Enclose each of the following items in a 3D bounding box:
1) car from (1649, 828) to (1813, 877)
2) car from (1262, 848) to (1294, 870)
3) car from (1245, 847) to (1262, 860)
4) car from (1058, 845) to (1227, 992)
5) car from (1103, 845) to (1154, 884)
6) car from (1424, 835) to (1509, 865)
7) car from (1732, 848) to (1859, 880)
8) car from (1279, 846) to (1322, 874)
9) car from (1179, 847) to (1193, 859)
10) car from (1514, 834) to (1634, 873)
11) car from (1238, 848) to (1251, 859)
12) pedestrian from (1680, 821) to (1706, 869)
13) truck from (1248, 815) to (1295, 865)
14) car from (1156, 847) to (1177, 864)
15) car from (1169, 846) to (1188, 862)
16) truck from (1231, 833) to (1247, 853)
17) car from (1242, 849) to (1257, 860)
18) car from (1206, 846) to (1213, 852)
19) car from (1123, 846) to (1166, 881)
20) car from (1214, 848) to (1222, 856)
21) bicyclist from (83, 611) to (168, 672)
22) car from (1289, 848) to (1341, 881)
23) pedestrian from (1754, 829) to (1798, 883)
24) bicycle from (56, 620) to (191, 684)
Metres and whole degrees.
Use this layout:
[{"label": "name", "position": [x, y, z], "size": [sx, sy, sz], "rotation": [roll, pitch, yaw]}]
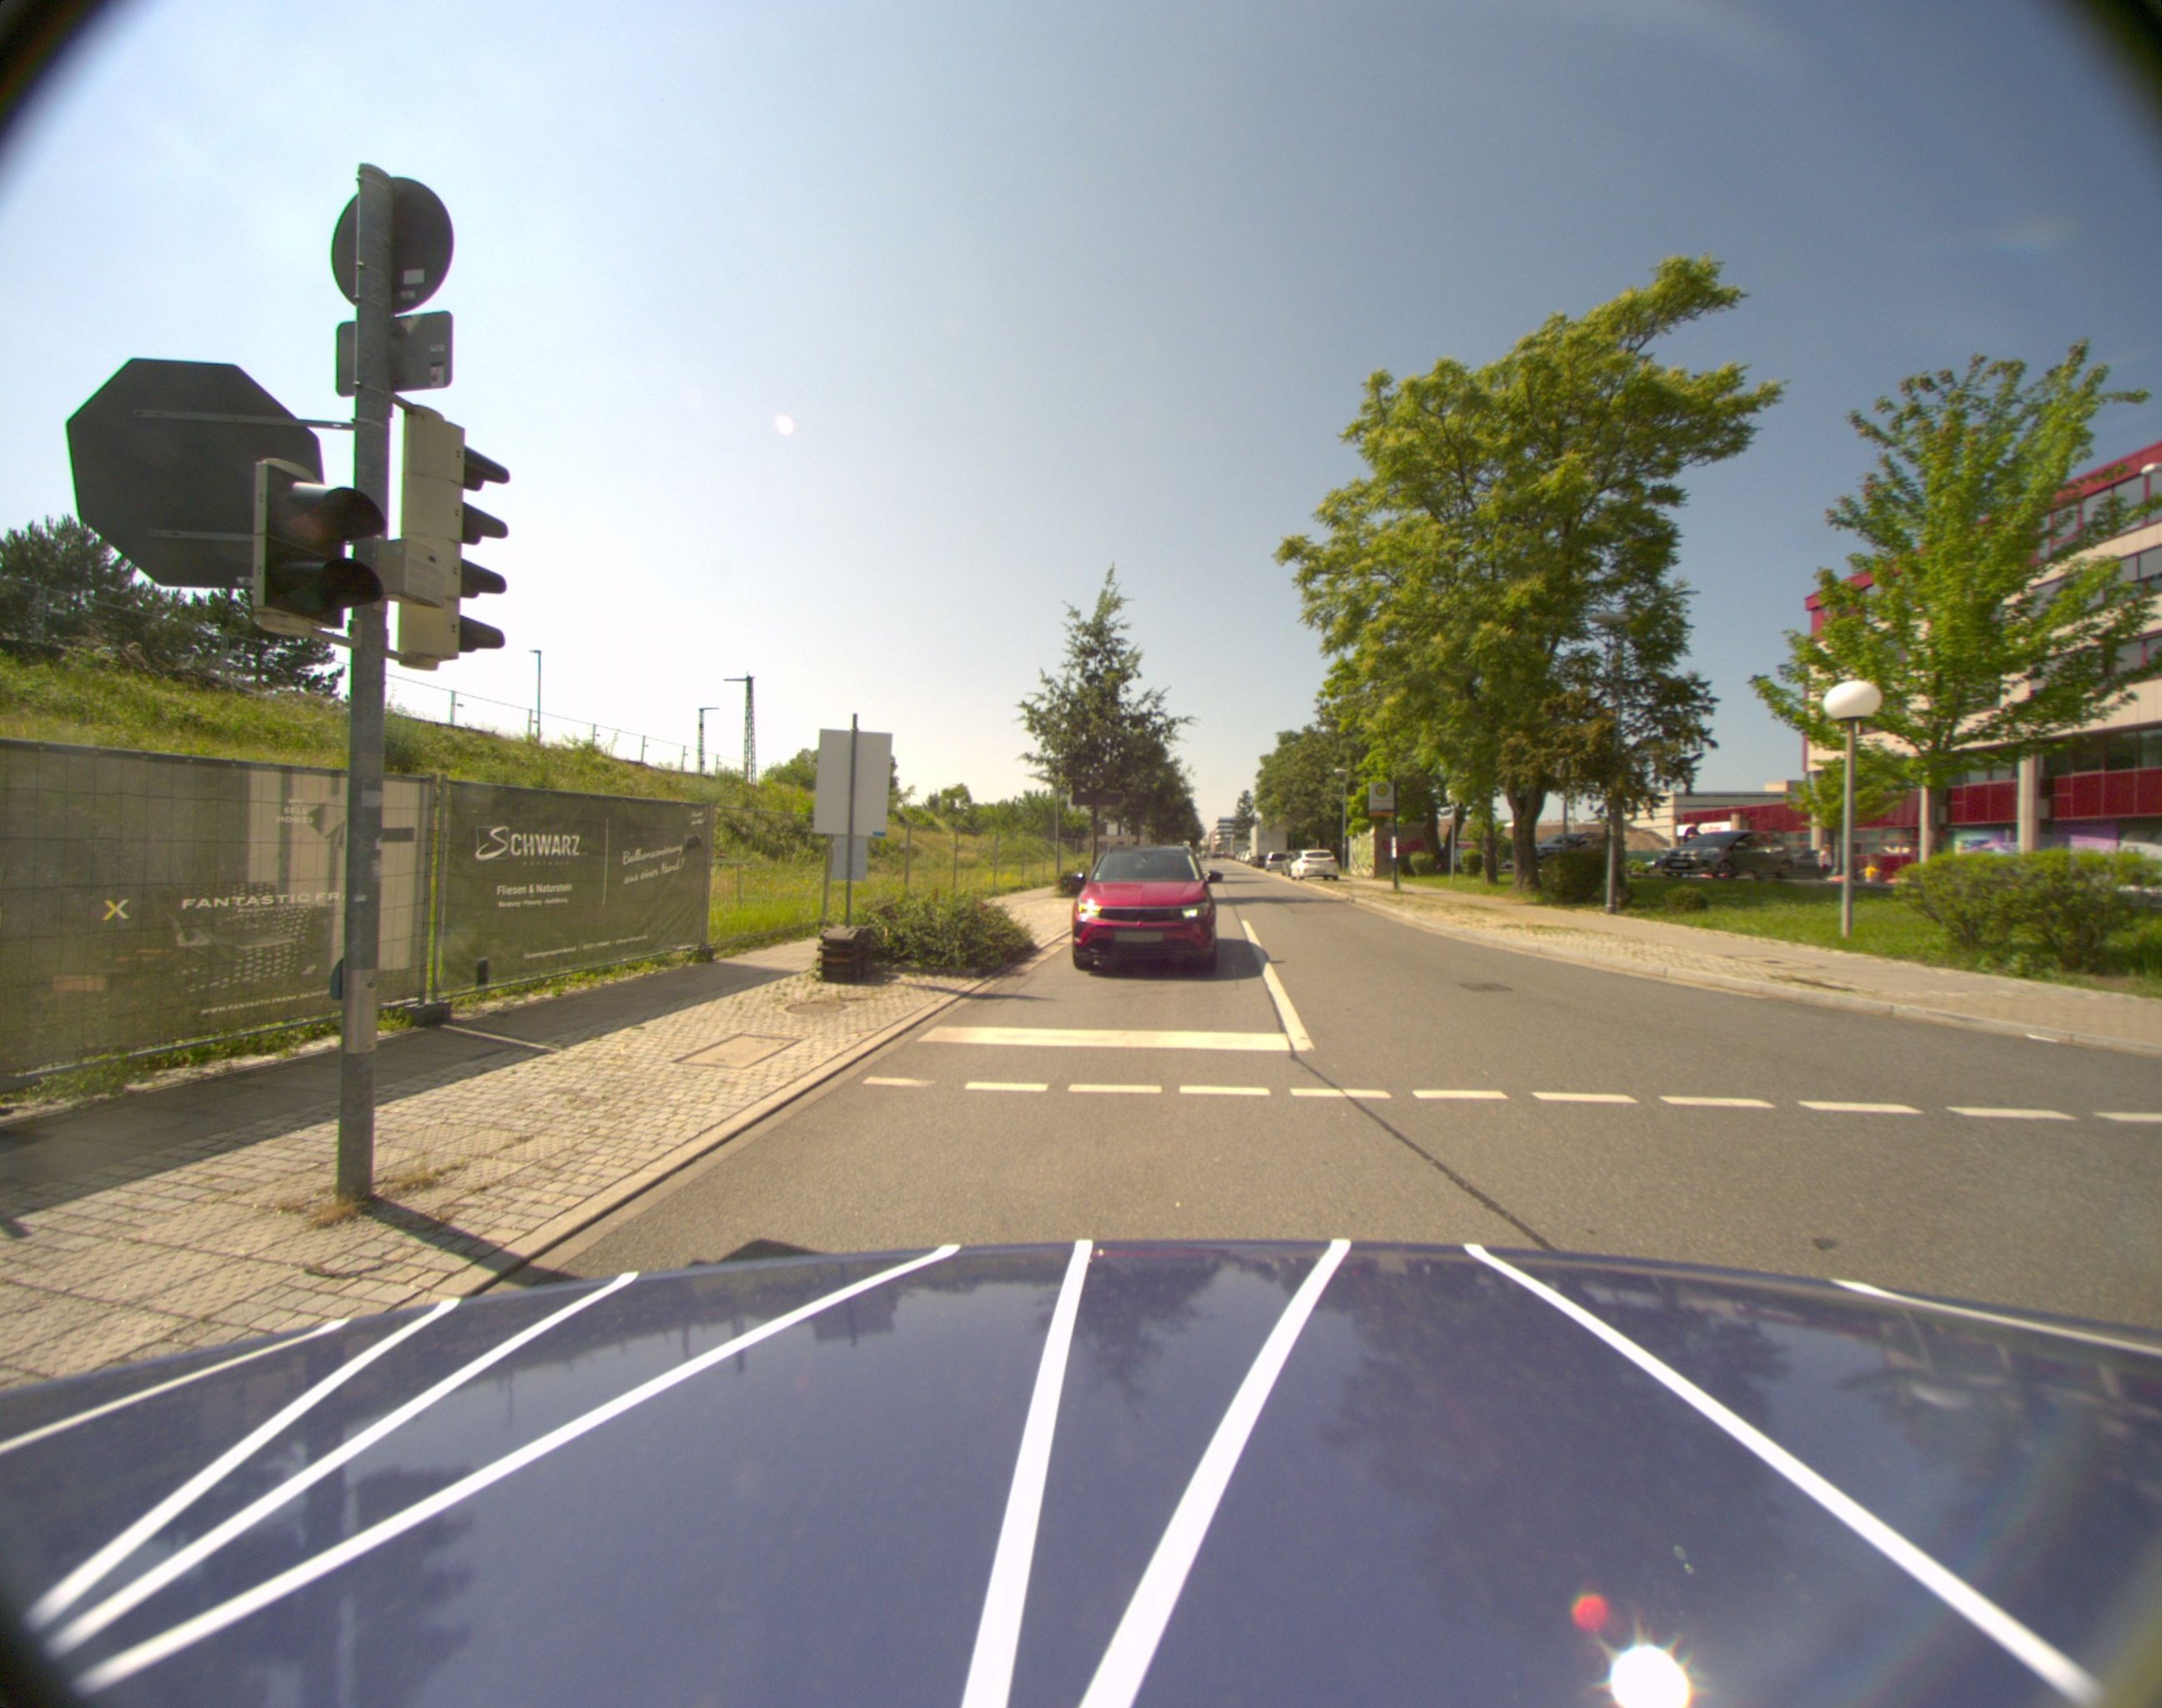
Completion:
[{"label": "car", "position": [19.685, -0.061, 23.074], "size": [3.991, 1.330, 1.716], "rotation": [-1, 1, -12]}, {"label": "car", "position": [14.418, 0.320, 55.855], "size": [1.813, 1.506, 4.002], "rotation": [-1, 0, 8]}, {"label": "car", "position": [20.996, -0.018, 92.696], "size": [1.813, 1.506, 4.003], "rotation": [-1, 0, 11]}, {"label": "car", "position": [0.932, 0.738, 10.517], "size": [1.820, 1.594, 4.310], "rotation": [-1, 0, 7]}, {"label": "car", "position": [2.258, 0.443, 35.101], "size": [1.845, 1.607, 4.373], "rotation": [3, 1, 9]}, {"label": "car", "position": [23.732, -0.225, 46.760], "size": [4.721, 1.793, 1.996], "rotation": [0, 0, -21]}, {"label": "car", "position": [34.100, 0.431, 36.367], "size": [1.726, 1.443, 4.228], "rotation": [0, 0, -38]}, {"label": "car", "position": [12.705, 0.336, 44.207], "size": [1.813, 1.506, 4.002], "rotation": [-1, 0, 8]}, {"label": "car", "position": [15.195, -0.159, 109.698], "size": [1.845, 1.606, 4.003], "rotation": [2, 0, 9]}, {"label": "car", "position": [20.538, -0.047, 31.657], "size": [4.822, 1.484, 1.849], "rotation": [-2, 1, -24]}, {"label": "car", "position": [24.920, -0.072, 115.975], "size": [1.813, 1.506, 4.003], "rotation": [-1, 0, 11]}, {"label": "pedestrian", "position": [19.819, -0.287, 24.611], "size": [0.563, 1.518, 0.758], "rotation": [0, 1, 31]}, {"label": "truck", "position": [17.030, -1.180, 68.439], "size": [3.351, 4.119, 9.284], "rotation": [-1, 0, 10]}, {"label": "car", "position": [8.382, 0.117, 74.307], "size": [1.845, 1.606, 4.003], "rotation": [2, 0, 9]}, {"label": "car", "position": [10.714, 0.022, 83.100], "size": [1.845, 1.606, 4.003], "rotation": [2, 0, 9]}, {"label": "truck", "position": [27.342, -1.884, 131.400], "size": [2.699, 3.300, 7.349], "rotation": [0, 0, 12]}, {"label": "car", "position": [22.944, 0.038, 103.584], "size": [1.813, 1.506, 4.003], "rotation": [-1, 0, 11]}, {"label": "car", "position": [37.142, -1.415, 219.429], "size": [1.763, 1.783, 4.004], "rotation": [0, 0, 12]}, {"label": "car", "position": [3.338, 0.461, 39.342], "size": [1.845, 1.607, 4.003], "rotation": [2, 0, 9]}, {"label": "car", "position": [30.814, -0.488, 170.827], "size": [1.789, 1.783, 4.003], "rotation": [0, 0, 10]}, {"label": "bicyclist", "position": [-26.712, -5.925, 21.274], "size": [0.952, 1.380, 1.062], "rotation": [-1, 2, 0]}, {"label": "car", "position": [11.325, 0.479, 36.976], "size": [1.764, 1.484, 4.002], "rotation": [-1, 0, 8]}, {"label": "pedestrian", "position": [19.965, 0.060, 21.842], "size": [0.565, 1.518, 0.755], "rotation": [0, 1, -25]}, {"label": "bicycle", "position": [-26.699, -5.613, 21.267], "size": [0.936, 1.206, 2.174], "rotation": [-1, 1, 0]}]
